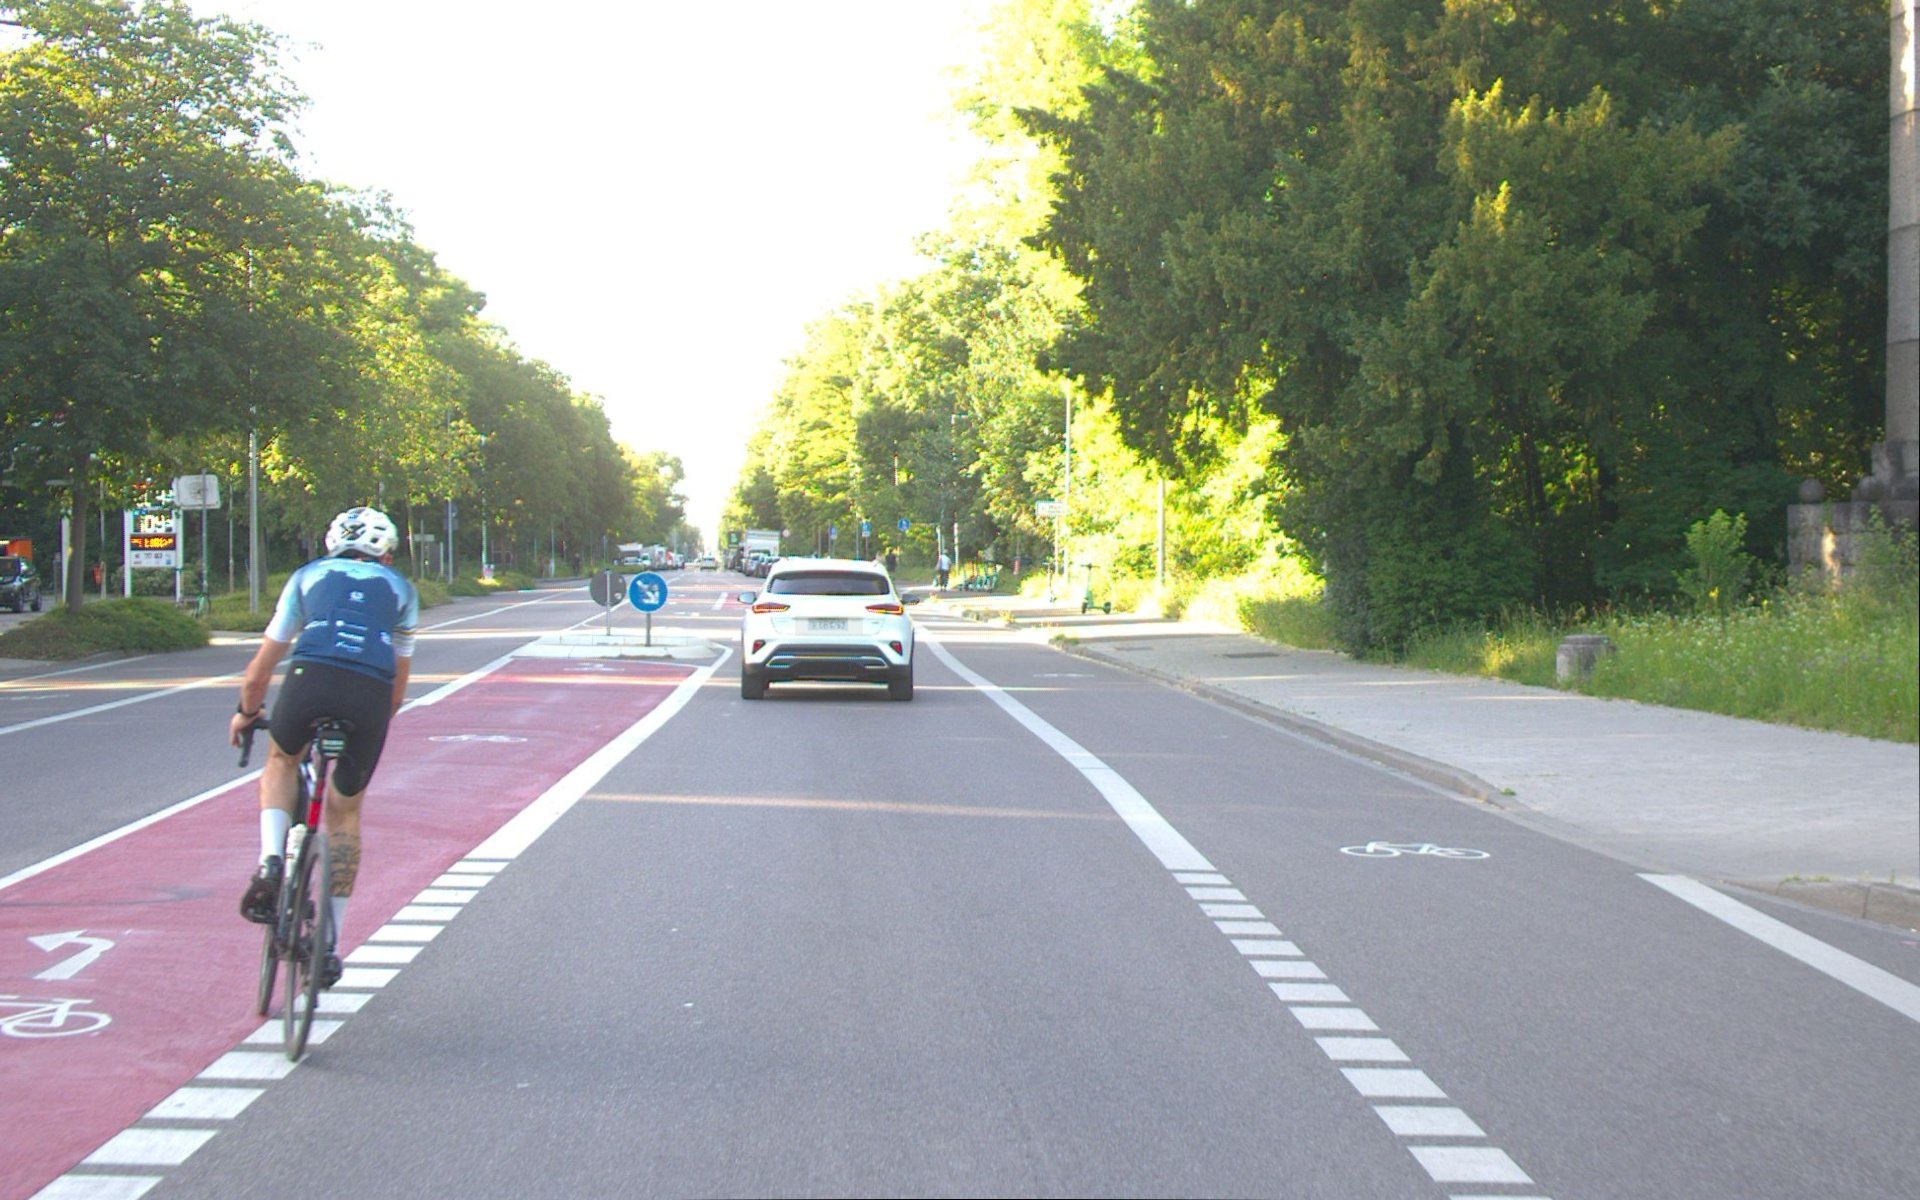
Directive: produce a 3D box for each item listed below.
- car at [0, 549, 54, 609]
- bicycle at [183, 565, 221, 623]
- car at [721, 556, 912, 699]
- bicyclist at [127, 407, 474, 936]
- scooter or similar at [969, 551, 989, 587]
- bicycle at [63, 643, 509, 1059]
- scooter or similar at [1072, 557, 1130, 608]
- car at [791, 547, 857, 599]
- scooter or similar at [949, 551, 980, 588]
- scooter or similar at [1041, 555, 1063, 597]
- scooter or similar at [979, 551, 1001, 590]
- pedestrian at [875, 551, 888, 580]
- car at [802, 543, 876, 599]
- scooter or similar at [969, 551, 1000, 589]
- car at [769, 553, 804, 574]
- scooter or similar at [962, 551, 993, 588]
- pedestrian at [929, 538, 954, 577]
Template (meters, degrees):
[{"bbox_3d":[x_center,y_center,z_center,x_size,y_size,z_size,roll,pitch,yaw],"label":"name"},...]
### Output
[{"bbox_3d":[-27.364,-0.626,99.391,1.710,1.685,4.455,-1,1,-7],"label":"car"},{"bbox_3d":[-16.659,-0.141,75.551,0.654,1.246,2.160,-1,1,-8],"label":"bicycle"},{"bbox_3d":[-1.607,0.262,37.332,1.761,1.454,3.819,0,1,-7],"label":"car"},{"bbox_3d":[-2.032,0.205,10.701,0.860,1.562,0.881,1,1,2],"label":"bicyclist"},{"bbox_3d":[0.746,-1.237,137.021,0.682,1.418,1.682,0,1,-3],"label":"scooter or similar"},{"bbox_3d":[-2.042,0.721,10.757,0.891,1.092,2.136,1,1,2],"label":"bicycle"},{"bbox_3d":[3.466,-0.438,84.454,0.534,1.245,1.537,0,1,44],"label":"scooter or similar"},{"bbox_3d":[-3.783,-0.766,95.770,1.676,1.413,3.574,-1,1,0],"label":"car"},{"bbox_3d":[0.182,-1.208,135.679,0.682,1.418,1.682,-1,1,-19],"label":"scooter or similar"},{"bbox_3d":[2.736,-0.713,102.294,0.533,1.245,1.541,0,1,-3],"label":"scooter or similar"},{"bbox_3d":[1.115,-1.098,128.013,0.682,1.418,1.682,0,1,-4],"label":"scooter or similar"},{"bbox_3d":[-4.423,-1.948,193.094,0.698,1.647,0.876,-1,1,-4],"label":"pedestrian"},{"bbox_3d":[-3.400,-0.823,96.128,1.993,1.514,4.001,-1,1,-3],"label":"car"},{"bbox_3d":[0.938,-1.160,131.961,0.682,1.418,1.682,0,1,-17],"label":"scooter or similar"},{"bbox_3d":[-11.414,-2.416,225.622,1.993,1.322,4.001,-1,1,-7],"label":"car"},{"bbox_3d":[0.692,-1.187,134.023,0.682,1.418,1.682,-1,1,-19],"label":"scooter or similar"},{"bbox_3d":[-0.740,-1.686,136.200,0.755,1.558,0.802,-1,1,-21],"label":"pedestrian"}]
